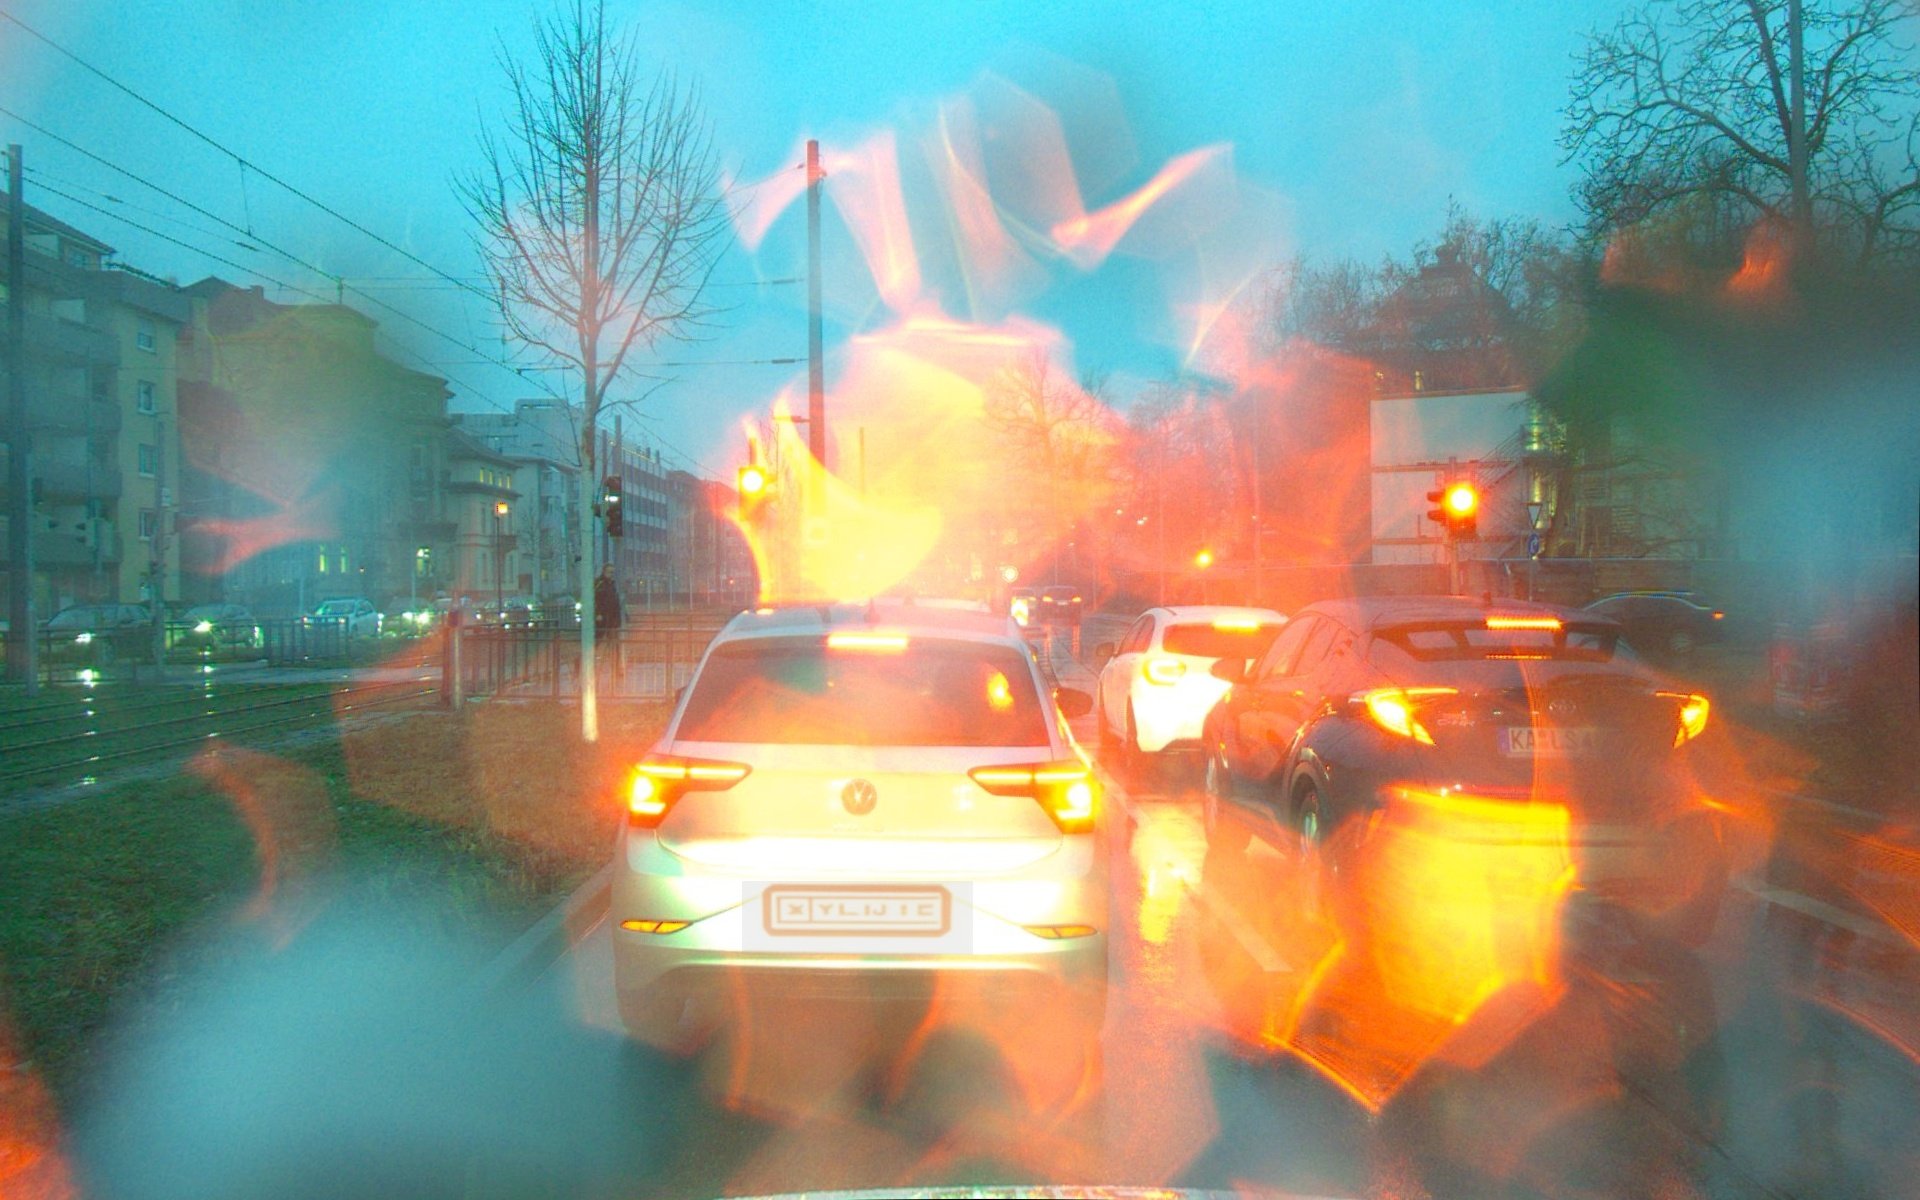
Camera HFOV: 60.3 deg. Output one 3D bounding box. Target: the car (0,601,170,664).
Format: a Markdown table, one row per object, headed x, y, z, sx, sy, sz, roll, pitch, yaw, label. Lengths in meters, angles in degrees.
| x | y | z | sx | sy | sz | roll | pitch | yaw | label |
| --- | --- | --- | --- | --- | --- | --- | --- | --- | --- |
| -20.387 | 0.720 | 38.608 | 1.821 | 1.355 | 4.314 | 1 | 0 | -1 | car |

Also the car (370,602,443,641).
| x | y | z | sx | sy | sz | roll | pitch | yaw | label |
| --- | --- | --- | --- | --- | --- | --- | --- | --- | --- |
| -24.767 | 0.946 | 74.191 | 1.910 | 1.630 | 4.000 | 1 | 0 | 0 | car |

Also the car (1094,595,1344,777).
| x | y | z | sx | sy | sz | roll | pitch | yaw | label |
| --- | --- | --- | --- | --- | --- | --- | --- | --- | --- |
| 2.276 | 0.705 | 15.431 | 1.710 | 1.458 | 3.731 | 1 | 0 | 0 | car |

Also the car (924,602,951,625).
| x | y | z | sx | sy | sz | roll | pitch | yaw | label |
| --- | --- | --- | --- | --- | --- | --- | --- | --- | --- |
| -1.491 | 0.861 | 110.335 | 1.702 | 1.444 | 4.393 | -1 | 1 | -1 | car |

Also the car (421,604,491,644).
| x | y | z | sx | sy | sz | roll | pitch | yaw | label |
| --- | --- | --- | --- | --- | --- | --- | --- | --- | --- |
| -21.429 | 0.996 | 70.484 | 1.829 | 1.604 | 3.999 | -1 | 0 | -1 | car |

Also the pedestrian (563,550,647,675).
| x | y | z | sx | sy | sz | roll | pitch | yaw | label |
| --- | --- | --- | --- | --- | --- | --- | --- | --- | --- |
| -5.960 | 0.195 | 27.737 | 0.945 | 2.049 | 1.002 | -1 | 0 | 42 | pedestrian |

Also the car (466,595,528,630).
| x | y | z | sx | sy | sz | roll | pitch | yaw | label |
| --- | --- | --- | --- | --- | --- | --- | --- | --- | --- |
| -22.814 | 0.596 | 81.668 | 1.910 | 1.630 | 4.000 | 1 | 0 | 0 | car |

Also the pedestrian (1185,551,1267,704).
| x | y | z | sx | sy | sz | roll | pitch | yaw | label |
| --- | --- | --- | --- | --- | --- | --- | --- | --- | --- |
| 3.663 | 0.361 | 22.833 | 0.939 | 2.049 | 1.007 | -1 | 0 | -1 | pedestrian |

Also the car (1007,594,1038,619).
| x | y | z | sx | sy | sz | roll | pitch | yaw | label |
| --- | --- | --- | --- | --- | --- | --- | --- | --- | --- |
| 3.767 | 0.359 | 99.953 | 1.702 | 1.444 | 3.703 | -1 | 1 | -1 | car |

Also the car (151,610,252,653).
| x | y | z | sx | sy | sz | roll | pitch | yaw | label |
| --- | --- | --- | --- | --- | --- | --- | --- | --- | --- |
| -24.115 | 0.979 | 52.714 | 1.656 | 1.300 | 3.535 | -1 | 0 | -2 | car |

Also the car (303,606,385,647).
| x | y | z | sx | sy | sz | roll | pitch | yaw | label |
| --- | --- | --- | --- | --- | --- | --- | --- | --- | --- |
| -21.052 | 0.878 | 56.674 | 1.658 | 1.300 | 4.142 | -1 | 0 | -7 | car |

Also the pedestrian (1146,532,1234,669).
| x | y | z | sx | sy | sz | roll | pitch | yaw | label |
| --- | --- | --- | --- | --- | --- | --- | --- | --- | --- |
| 3.514 | -0.006 | 25.337 | 0.946 | 2.049 | 1.000 | -1 | 0 | -23 | pedestrian |

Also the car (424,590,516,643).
| x | y | z | sx | sy | sz | roll | pitch | yaw | label |
| --- | --- | --- | --- | --- | --- | --- | --- | --- | --- |
| -16.242 | 0.530 | 55.023 | 1.953 | 1.630 | 3.999 | 1 | 0 | -2 | car |

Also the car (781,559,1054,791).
| x | y | z | sx | sy | sz | roll | pitch | yaw | label |
| --- | --- | --- | --- | --- | --- | --- | --- | --- | --- |
| -0.299 | 0.470 | 13.132 | 1.762 | 1.492 | 4.585 | -1 | 1 | -1 | car |

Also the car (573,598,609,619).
| x | y | z | sx | sy | sz | roll | pitch | yaw | label |
| --- | --- | --- | --- | --- | --- | --- | --- | --- | --- |
| -28.712 | 0.647 | 128.712 | 1.910 | 1.630 | 4.000 | 1 | 0 | 0 | car |

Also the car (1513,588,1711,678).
| x | y | z | sx | sy | sz | roll | pitch | yaw | label |
| --- | --- | --- | --- | --- | --- | --- | --- | --- | --- |
| 15.435 | 0.765 | 39.397 | 4.181 | 1.977 | 2.001 | 1 | 0 | 16 | car |

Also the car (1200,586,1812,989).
| x | y | z | sx | sy | sz | roll | pitch | yaw | label |
| --- | --- | --- | --- | --- | --- | --- | --- | --- | --- |
| 2.400 | 0.715 | 8.348 | 1.763 | 1.537 | 3.895 | -1 | 0 | -1 | car |

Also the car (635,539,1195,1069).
| x | y | z | sx | sy | sz | roll | pitch | yaw | label |
| --- | --- | --- | --- | --- | --- | --- | --- | --- | --- |
| -0.258 | 0.588 | 6.931 | 1.659 | 1.560 | 3.997 | 1 | 0 | -4 | car |

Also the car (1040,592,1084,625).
| x | y | z | sx | sy | sz | roll | pitch | yaw | label |
| --- | --- | --- | --- | --- | --- | --- | --- | --- | --- |
| 4.664 | 0.371 | 75.945 | 1.702 | 1.444 | 3.703 | -1 | 1 | -1 | car |
